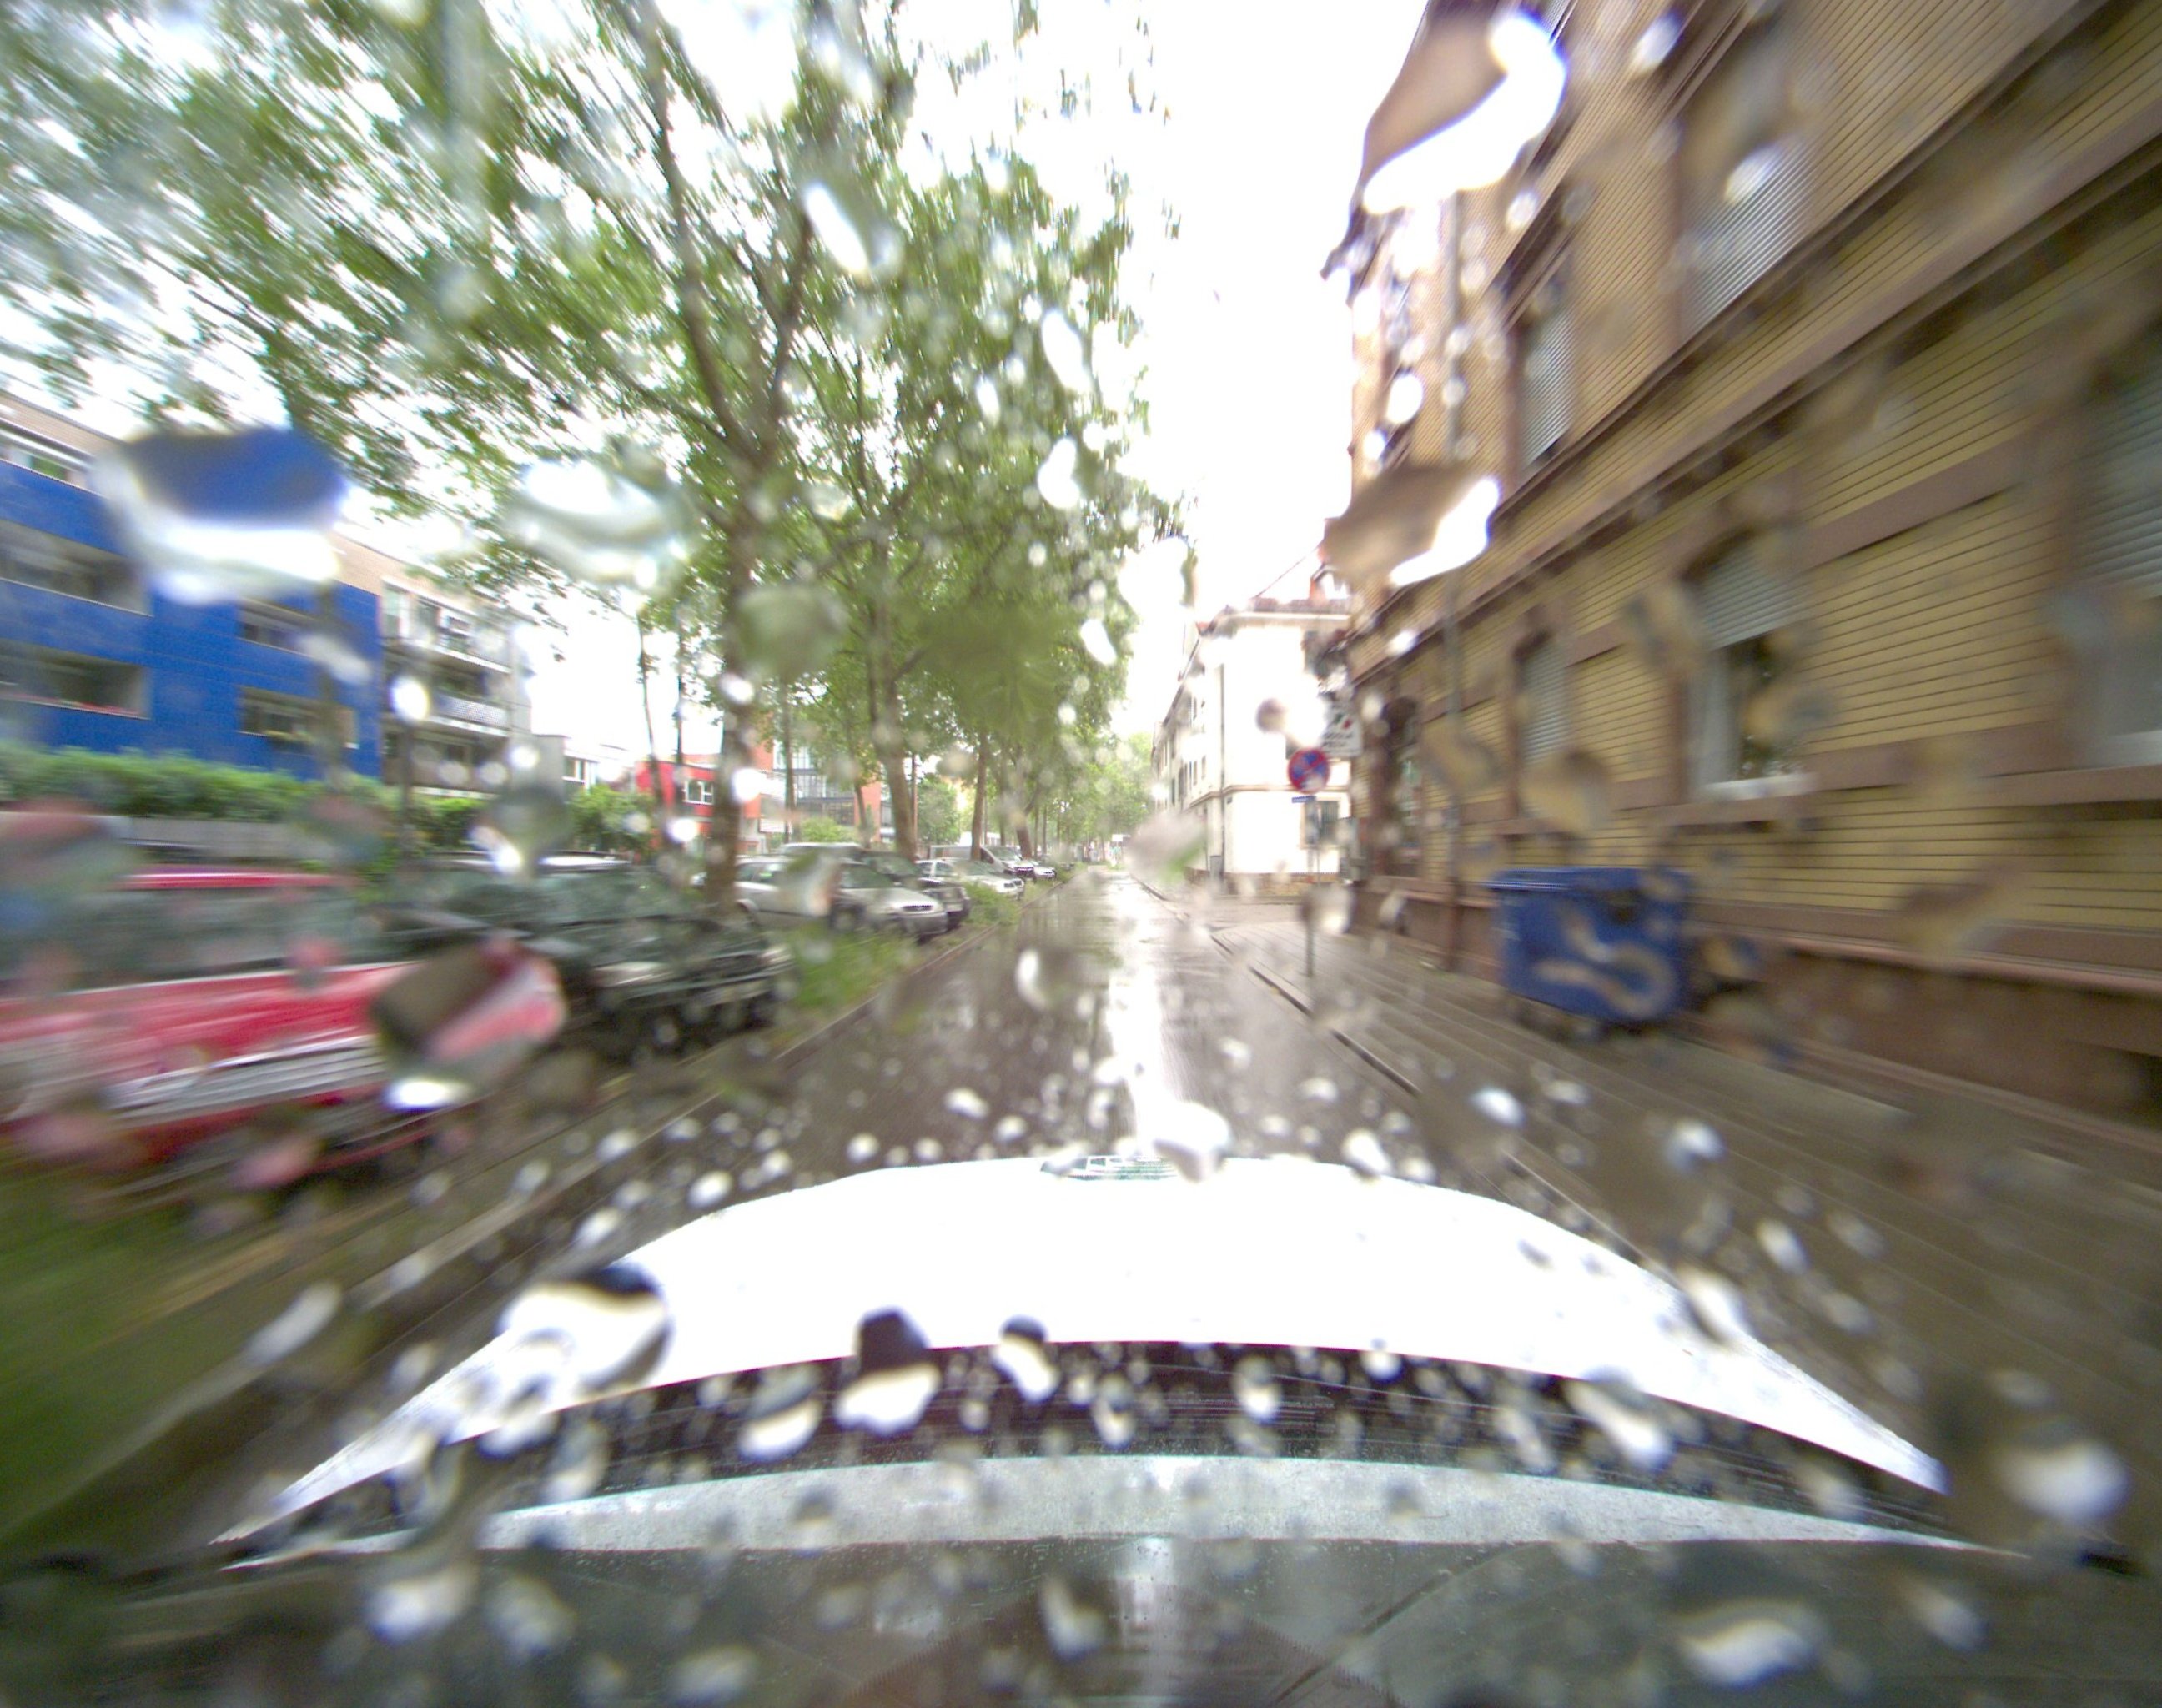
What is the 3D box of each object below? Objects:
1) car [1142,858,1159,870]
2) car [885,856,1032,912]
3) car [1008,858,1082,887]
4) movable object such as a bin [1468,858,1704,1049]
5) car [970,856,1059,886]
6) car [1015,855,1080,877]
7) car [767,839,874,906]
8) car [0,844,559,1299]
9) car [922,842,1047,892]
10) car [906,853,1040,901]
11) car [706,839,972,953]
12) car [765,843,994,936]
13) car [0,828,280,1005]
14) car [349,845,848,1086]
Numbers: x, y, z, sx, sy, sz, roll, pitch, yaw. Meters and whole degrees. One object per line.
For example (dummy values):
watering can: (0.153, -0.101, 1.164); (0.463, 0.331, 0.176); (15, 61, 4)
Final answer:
car: (9.770, 1.456, 114.639); (1.986, 1.640, 4.001); (1, -1, 1)
car: (-3.683, 0.843, 24.490); (4.019, 1.499, 1.757); (1, 1, 25)
car: (-1.996, 1.034, 45.192); (3.768, 1.521, 1.733); (-1, -1, 32)
movable object such as a bin: (3.966, 0.722, 6.554); (1.017, 1.301, 1.367); (-3, 0, 1)
car: (-3.538, 0.897, 43.104); (4.502, 1.482, 1.786); (-1, -1, 31)
car: (-2.460, 0.865, 60.294); (4.416, 1.597, 1.935); (1, 0, 28)
car: (-8.639, 0.565, 27.540); (2.032, 2.000, 5.156); (1, 0, -1)
car: (-4.691, 0.716, 4.379); (3.607, 1.479, 1.754); (1, 0, 32)
car: (-4.134, 0.559, 34.719); (5.065, 1.977, 2.116); (-1, -1, 32)
car: (-3.673, 0.717, 27.599); (4.262, 1.437, 1.758); (1, 1, 28)
car: (-4.154, 0.670, 13.769); (4.361, 1.645, 1.884); (-2, -1, 32)
car: (-4.121, 0.641, 16.563); (4.362, 1.660, 1.941); (0, 0, 29)
car: (-11.558, 0.601, 8.535); (1.898, 1.740, 4.421); (1, 0, 0)
car: (-4.198, 0.704, 6.968); (4.177, 1.479, 1.754); (1, 0, 29)
